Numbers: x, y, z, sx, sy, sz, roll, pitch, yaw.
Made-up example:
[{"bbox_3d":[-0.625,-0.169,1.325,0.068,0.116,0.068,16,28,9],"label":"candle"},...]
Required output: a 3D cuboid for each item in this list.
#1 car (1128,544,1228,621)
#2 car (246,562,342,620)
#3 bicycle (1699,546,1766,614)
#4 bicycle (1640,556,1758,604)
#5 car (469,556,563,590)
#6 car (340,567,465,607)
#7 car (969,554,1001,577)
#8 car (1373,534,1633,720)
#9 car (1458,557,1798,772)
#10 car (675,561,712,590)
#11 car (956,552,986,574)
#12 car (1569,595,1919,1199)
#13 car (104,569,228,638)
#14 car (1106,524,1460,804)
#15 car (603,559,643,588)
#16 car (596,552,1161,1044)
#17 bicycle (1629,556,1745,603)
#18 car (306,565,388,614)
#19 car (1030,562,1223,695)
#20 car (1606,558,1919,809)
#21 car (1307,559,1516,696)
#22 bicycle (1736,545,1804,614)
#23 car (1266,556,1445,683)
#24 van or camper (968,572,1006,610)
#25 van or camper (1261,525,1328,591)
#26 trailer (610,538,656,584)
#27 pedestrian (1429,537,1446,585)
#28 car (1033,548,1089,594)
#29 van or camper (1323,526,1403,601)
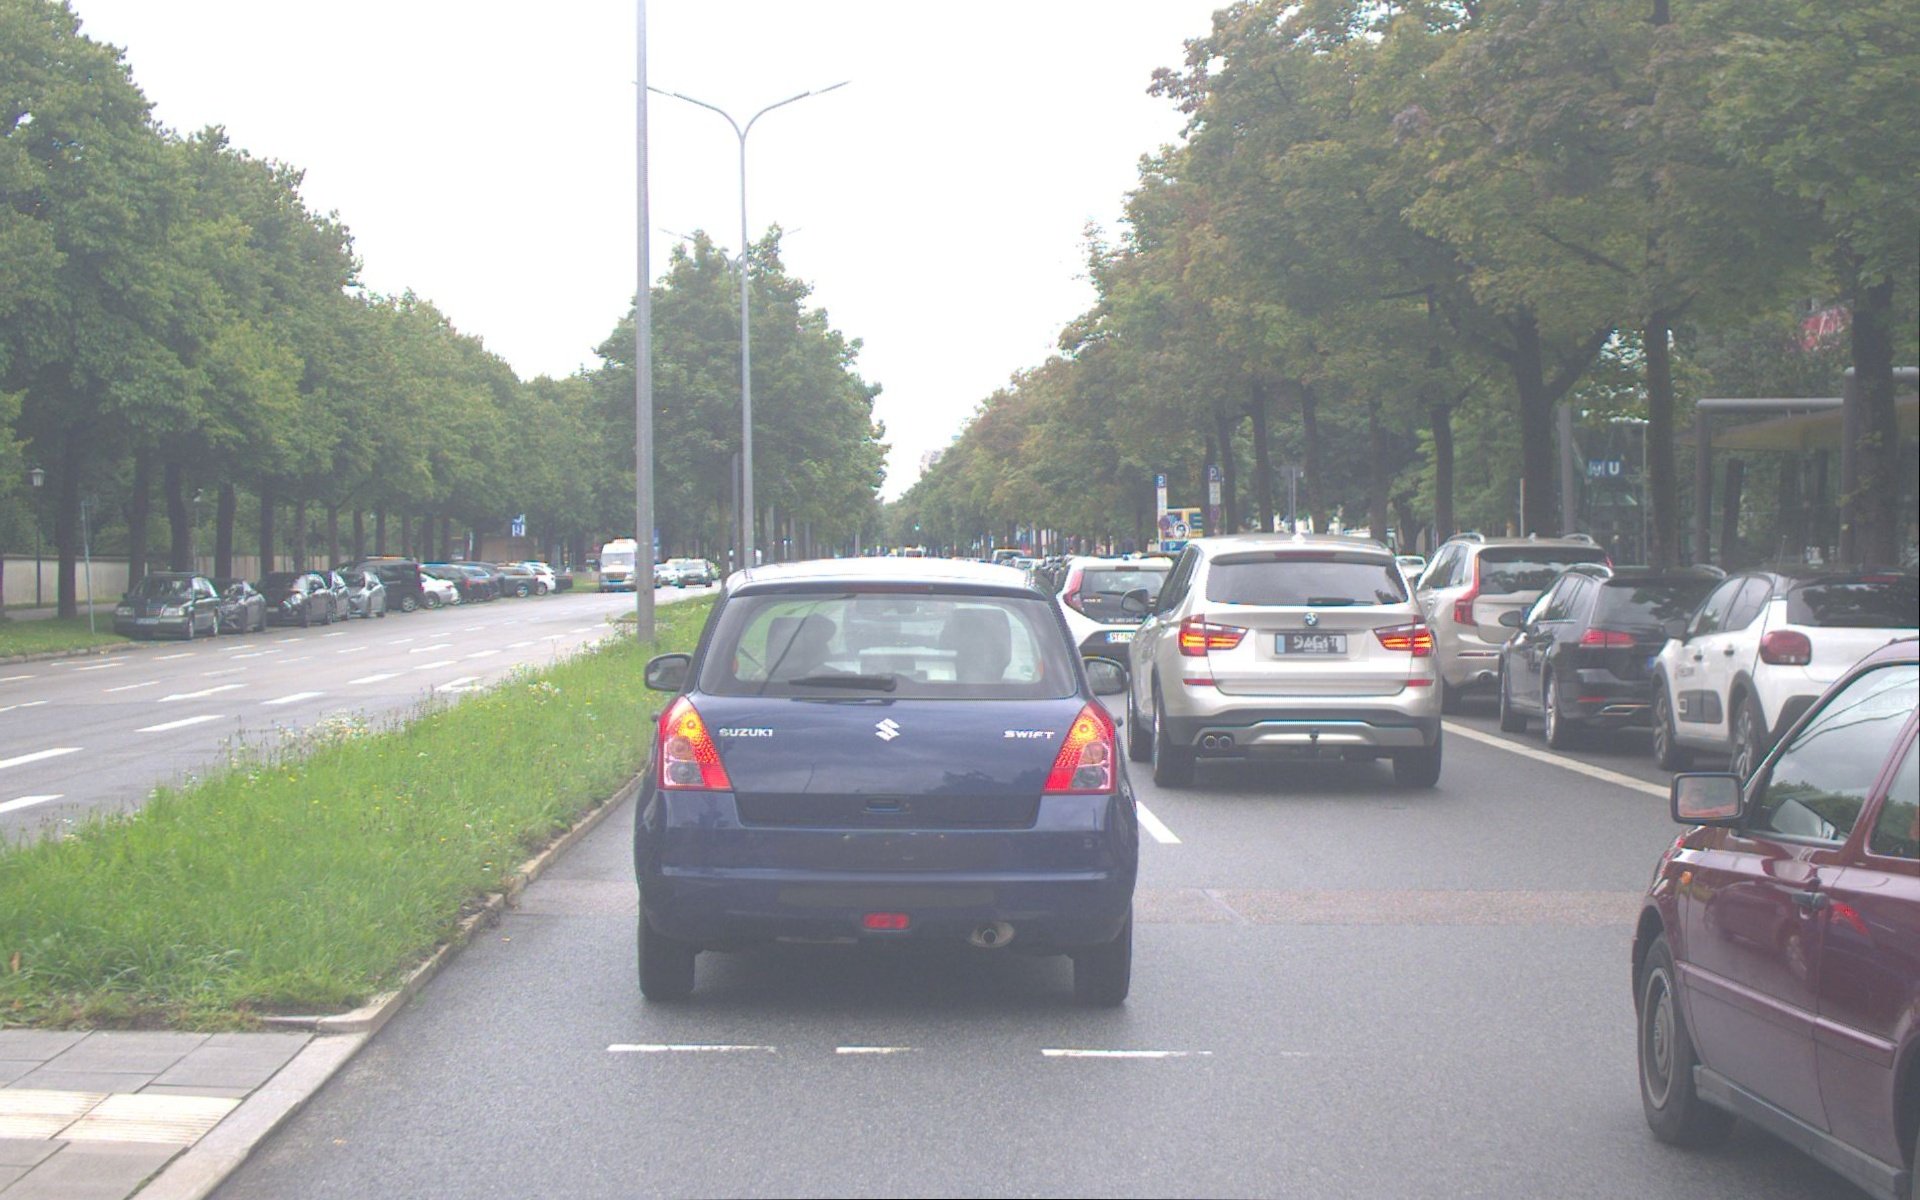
[{"bbox_3d":[4.835,-0.413,76.854,1.786,1.669,4.596,0,1,-2],"label":"car"},{"bbox_3d":[-18.053,-0.252,93.332,1.571,1.498,4.303,1,1,3],"label":"car"},{"bbox_3d":[14.792,-0.395,65.885,0.645,1.276,2.551,-1,1,-1],"label":"bicycle"},{"bbox_3d":[16.874,-0.458,78.560,2.542,1.085,0.647,-1,1,-1],"label":"bicycle"},{"bbox_3d":[-21.568,-1.311,166.977,4.095,1.579,1.919,-1,1,-34],"label":"car"},{"bbox_3d":[-19.896,-0.475,122.782,3.988,1.349,1.850,-1,1,-35],"label":"car"},{"bbox_3d":[1.586,-2.233,218.901,1.850,1.442,4.098,0,1,-3],"label":"car"},{"bbox_3d":[5.362,0.202,34.542,1.747,1.718,4.906,0,1,-1],"label":"car"},{"bbox_3d":[5.424,0.466,28.502,1.747,1.542,4.643,-2,1,-2],"label":"car"},{"bbox_3d":[-14.924,-1.384,192.451,1.913,1.537,4.188,-1,1,-3],"label":"car"},{"bbox_3d":[0.739,-2.498,232.739,1.850,1.442,4.098,0,1,-3],"label":"car"},{"bbox_3d":[2.574,0.739,7.657,1.622,1.449,3.950,0,1,-2],"label":"car"},{"bbox_3d":[-18.177,0.052,78.891,1.799,1.485,4.915,1,1,-1],"label":"car"},{"bbox_3d":[2.104,0.371,23.510,1.850,1.737,4.098,0,1,-3],"label":"car"},{"bbox_3d":[-18.110,-1.438,184.709,1.913,1.537,4.188,-1,1,-3],"label":"car"},{"bbox_3d":[-0.349,0.602,12.942,1.789,1.550,4.001,0,1,-3],"label":"car"},{"bbox_3d":[16.875,-0.478,79.779,2.542,1.085,0.647,-1,1,-1],"label":"bicycle"},{"bbox_3d":[-18.760,-0.333,105.421,1.636,1.434,4.809,1,1,0],"label":"car"},{"bbox_3d":[1.875,0.290,39.814,1.850,1.442,4.098,0,1,-3],"label":"car"},{"bbox_3d":[5.776,0.493,23.548,1.712,1.542,4.382,0,1,-2],"label":"car"},{"bbox_3d":[5.254,0.280,40.517,1.702,1.503,4.504,0,1,-2],"label":"car"},{"bbox_3d":[15.512,-0.401,65.868,0.645,1.276,2.551,-1,1,-1],"label":"bicycle"},{"bbox_3d":[5.148,0.217,45.263,1.720,1.529,4.399,2,1,-1],"label":"car"},{"bbox_3d":[1.386,-0.490,180.423,1.944,1.968,4.306,0,1,0],"label":"van or camper"},{"bbox_3d":[13.311,-1.694,137.116,2.024,2.549,5.957,-1,1,-1],"label":"van or camper"},{"bbox_3d":[-18.455,-2.218,194.105,2.106,2.532,5.577,-1,1,-1],"label":"trailer"},{"bbox_3d":[17.496,-1.421,125.982,0.575,1.745,0.732,0,1,4],"label":"pedestrian"},{"bbox_3d":[3.618,-1.056,123.932,1.764,1.646,4.424,0,1,-1],"label":"car"},{"bbox_3d":[14.093,-1.292,120.412,1.993,2.549,5.957,-1,1,-1],"label":"van or camper"}]
